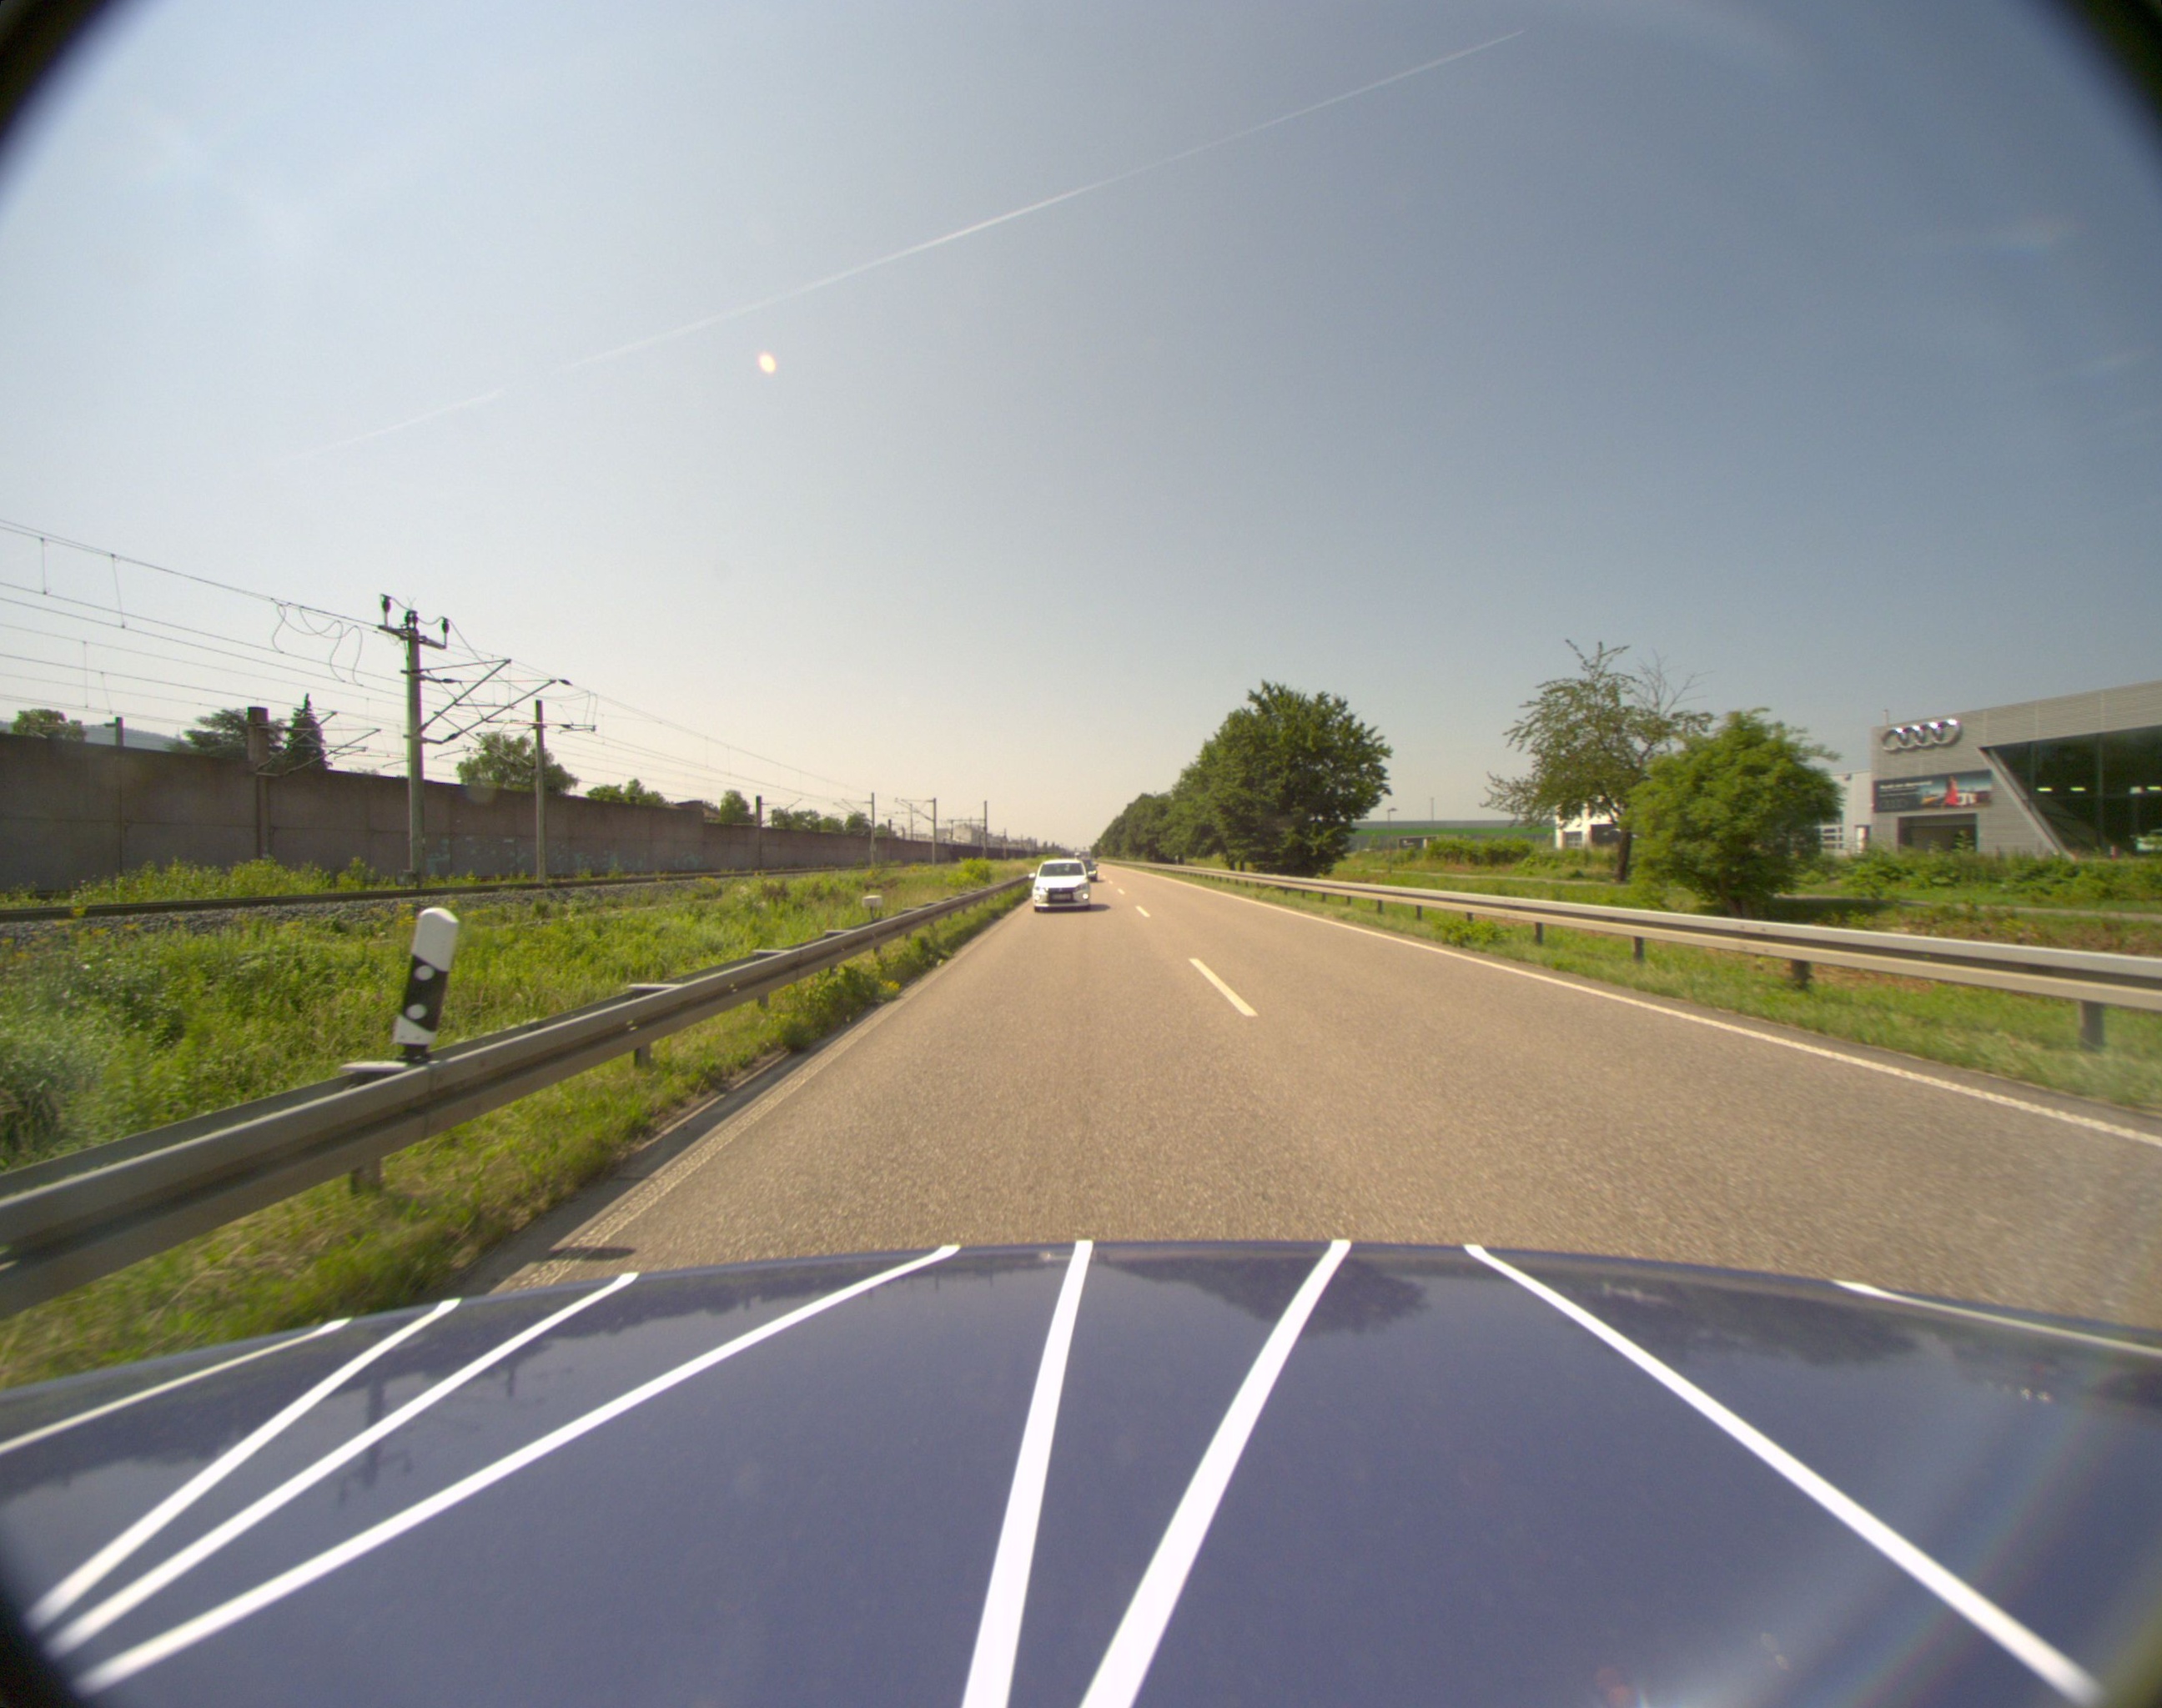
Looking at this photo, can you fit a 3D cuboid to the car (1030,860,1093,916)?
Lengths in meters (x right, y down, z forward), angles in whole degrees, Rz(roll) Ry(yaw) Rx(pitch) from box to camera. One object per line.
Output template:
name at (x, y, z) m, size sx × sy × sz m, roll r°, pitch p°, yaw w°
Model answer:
car at (-0.551, 0.951, 23.072) m, size 1.701 × 1.470 × 4.155 m, roll -1°, pitch 0°, yaw -1°

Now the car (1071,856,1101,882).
car at (0.268, 0.890, 46.474) m, size 1.711 × 1.470 × 4.155 m, roll -1°, pitch 0°, yaw -1°

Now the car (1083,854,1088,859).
car at (1.408, 0.907, 247.367) m, size 1.711 × 1.470 × 4.155 m, roll 1°, pitch 0°, yaw -1°
